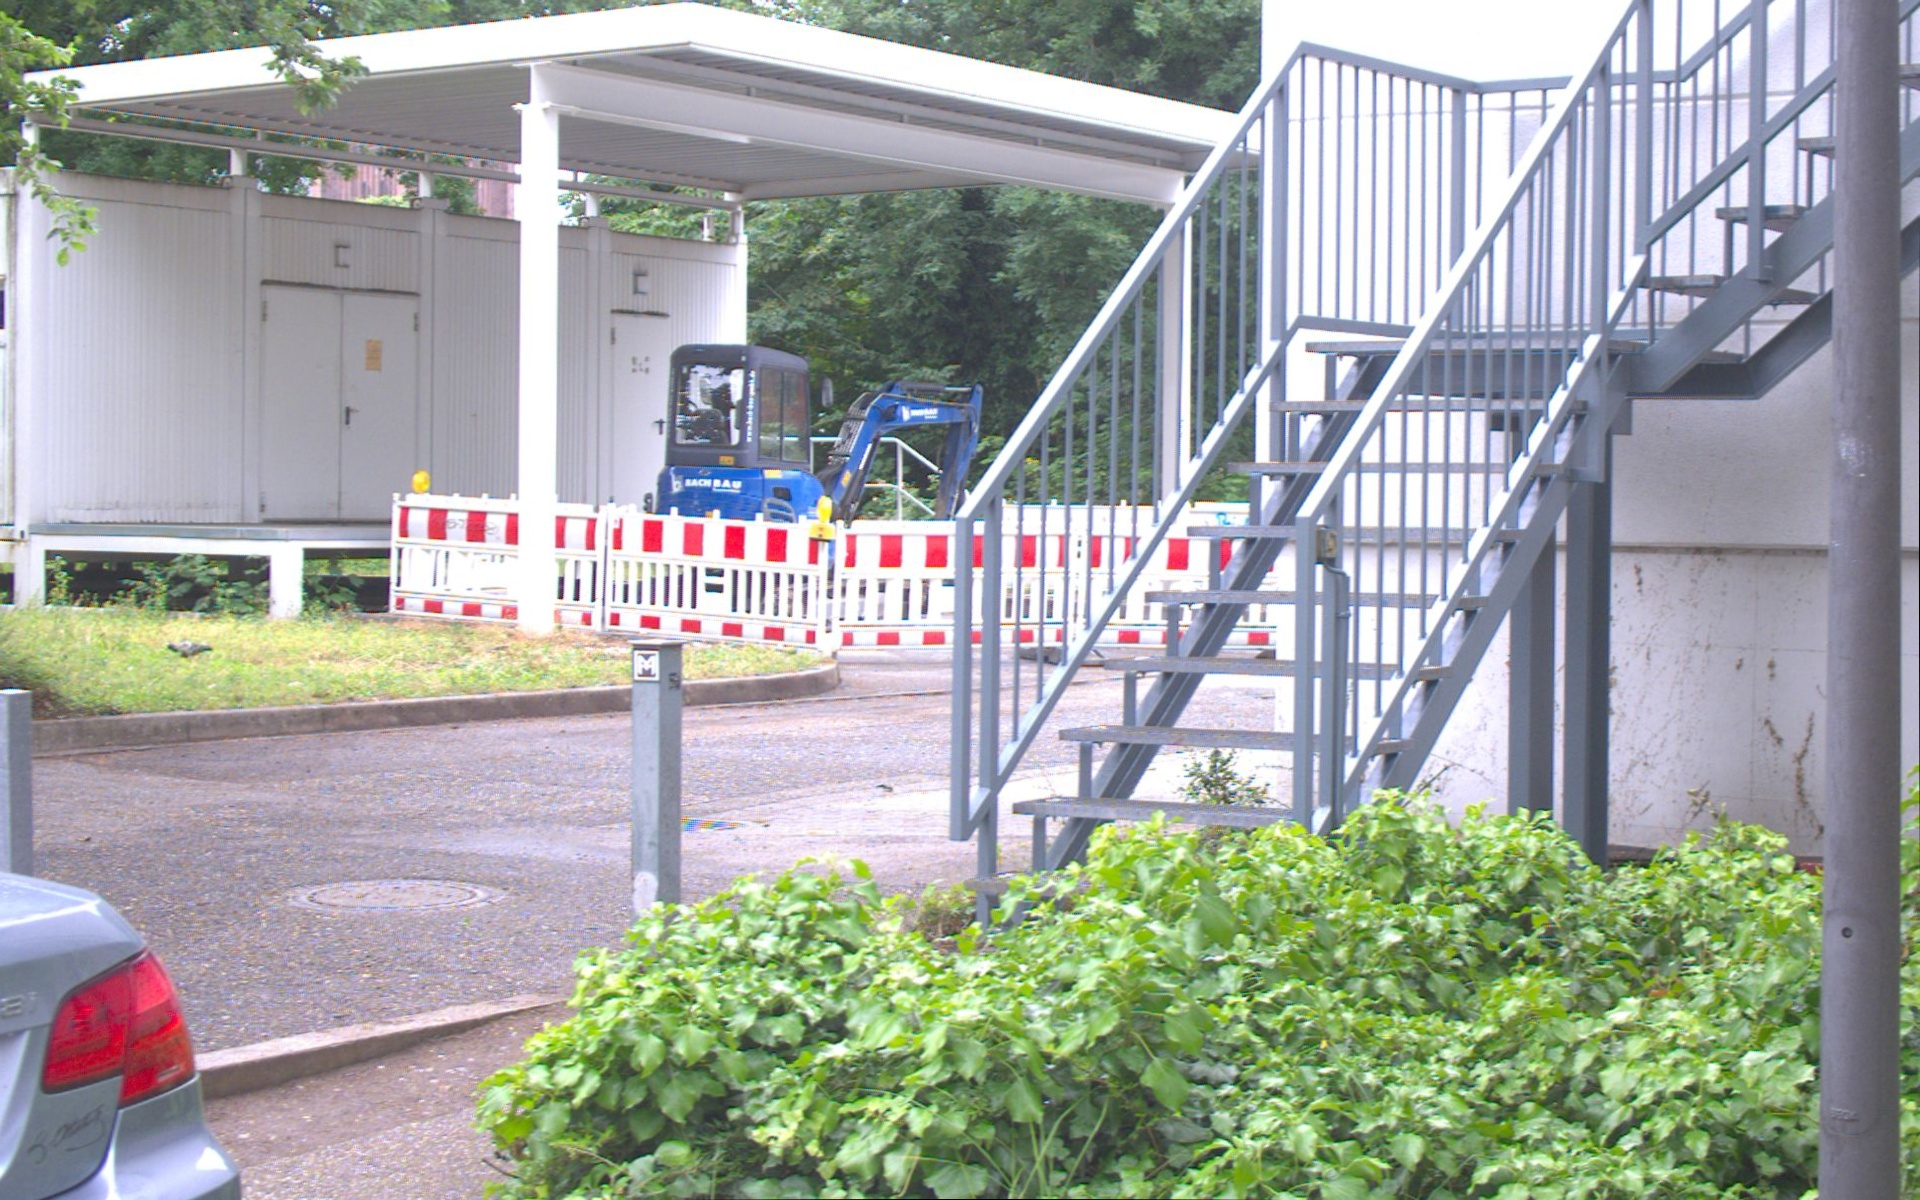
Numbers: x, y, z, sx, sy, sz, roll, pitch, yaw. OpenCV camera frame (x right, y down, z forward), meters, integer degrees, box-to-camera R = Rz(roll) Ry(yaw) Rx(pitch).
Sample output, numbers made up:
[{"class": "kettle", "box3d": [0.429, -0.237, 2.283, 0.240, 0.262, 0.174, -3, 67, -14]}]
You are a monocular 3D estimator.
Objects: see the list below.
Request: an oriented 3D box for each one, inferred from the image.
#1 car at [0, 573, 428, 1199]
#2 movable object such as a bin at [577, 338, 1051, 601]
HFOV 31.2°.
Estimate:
[{"class": "car", "box3d": [-2.942, 0.647, 4.725, 4.188, 1.384, 1.820, 2, 2, 31]}, {"class": "movable object such as a bin", "box3d": [-1.205, -1.107, 30.845, 1.997, 2.164, 4.662, 2, 1, 30]}]
